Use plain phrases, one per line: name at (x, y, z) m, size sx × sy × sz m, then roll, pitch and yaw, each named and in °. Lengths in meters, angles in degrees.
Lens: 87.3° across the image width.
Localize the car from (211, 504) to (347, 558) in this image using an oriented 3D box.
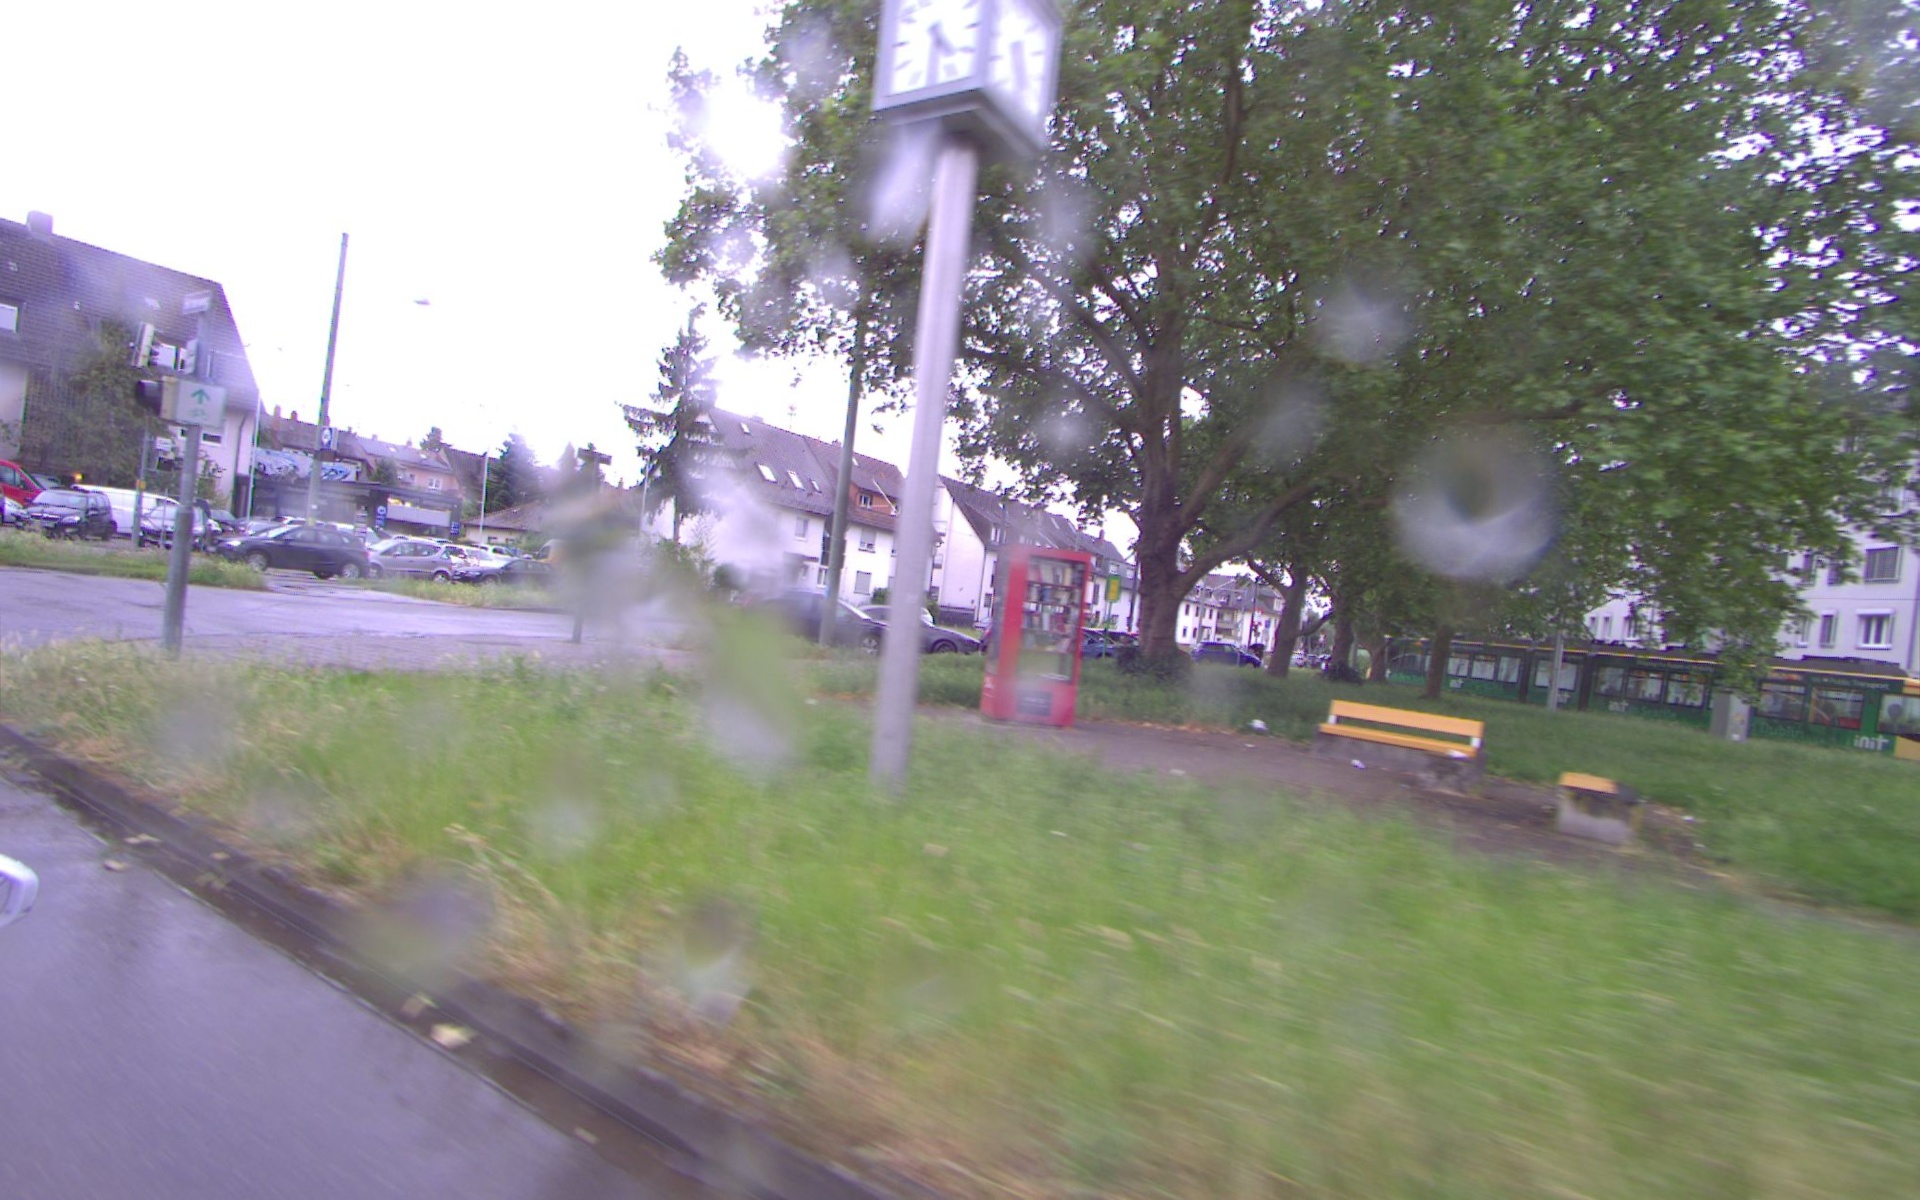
car at (-29.742, -2.990, 44.066) m, size 1.968 × 1.708 × 4.436 m, roll 6°, pitch -1°, yaw 33°

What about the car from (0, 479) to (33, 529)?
car at (-34.384, -3.478, 34.227) m, size 3.947 × 1.617 × 1.979 m, roll 7°, pitch -1°, yaw -39°

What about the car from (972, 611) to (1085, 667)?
car at (2.249, 1.296, 33.734) m, size 3.453 × 1.524 × 1.754 m, roll 5°, pitch -2°, yaw -4°

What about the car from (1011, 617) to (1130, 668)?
car at (3.944, 1.531, 36.363) m, size 3.927 × 1.519 × 1.824 m, roll 4°, pitch -1°, yaw -5°

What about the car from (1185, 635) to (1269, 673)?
car at (14.552, 2.946, 54.930) m, size 3.925 × 1.502 × 1.999 m, roll 6°, pitch 1°, yaw 0°

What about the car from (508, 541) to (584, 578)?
car at (-23.586, -2.286, 57.548) m, size 1.829 × 1.599 × 4.402 m, roll 6°, pitch -1°, yaw 10°

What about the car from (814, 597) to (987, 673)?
car at (-1.595, 0.950, 28.007) m, size 4.463 × 1.494 × 1.805 m, roll 7°, pitch 0°, yaw 5°

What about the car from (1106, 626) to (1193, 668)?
car at (8.354, 2.062, 44.582) m, size 3.530 × 1.498 × 1.638 m, roll 5°, pitch 0°, yaw 5°

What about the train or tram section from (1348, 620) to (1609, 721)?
train or tram section at (25.441, 3.237, 51.094) m, size 2.671 × 3.632 × 14.704 m, roll 8°, pitch -1°, yaw -12°

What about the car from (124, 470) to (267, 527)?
car at (-32.754, -4.314, 43.215) m, size 1.968 × 1.708 × 4.436 m, roll 6°, pitch -1°, yaw 33°

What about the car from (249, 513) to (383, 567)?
car at (-27.600, -2.548, 43.257) m, size 1.732 × 1.708 × 4.436 m, roll 6°, pitch -1°, yaw 33°

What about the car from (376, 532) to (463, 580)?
car at (-23.168, -1.892, 43.119) m, size 3.560 × 1.591 × 1.719 m, roll 7°, pitch -2°, yaw 35°

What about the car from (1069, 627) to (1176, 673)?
car at (6.692, 2.058, 41.741) m, size 4.046 × 1.498 × 1.866 m, roll 5°, pitch 0°, yaw 0°

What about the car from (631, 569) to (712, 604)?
car at (-15.802, -0.715, 55.182) m, size 1.966 × 1.586 × 3.882 m, roll 7°, pitch 3°, yaw 31°

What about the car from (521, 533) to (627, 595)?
car at (-19.601, -1.842, 51.054) m, size 5.063 × 2.433 × 2.150 m, roll 7°, pitch -2°, yaw 31°

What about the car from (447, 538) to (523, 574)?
car at (-28.042, -2.563, 59.551) m, size 1.759 × 1.599 × 4.450 m, roll 6°, pitch -1°, yaw 10°

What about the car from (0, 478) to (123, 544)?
car at (-29.024, -2.803, 32.545) m, size 1.975 × 1.738 × 3.974 m, roll 6°, pitch 0°, yaw -26°

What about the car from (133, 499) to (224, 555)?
car at (-27.203, -2.489, 35.140) m, size 1.815 × 1.521 × 4.028 m, roll 9°, pitch -2°, yaw -30°

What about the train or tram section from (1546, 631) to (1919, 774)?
train or tram section at (28.444, 3.433, 36.694) m, size 2.671 × 3.632 × 14.704 m, roll 8°, pitch -1°, yaw -12°

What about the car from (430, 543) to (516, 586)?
car at (-21.839, -1.607, 45.103) m, size 3.781 × 1.412 × 1.720 m, roll 7°, pitch -2°, yaw 35°

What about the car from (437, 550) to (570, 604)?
car at (-17.556, -0.842, 38.894) m, size 1.695 × 1.354 × 4.383 m, roll 7°, pitch -3°, yaw 33°

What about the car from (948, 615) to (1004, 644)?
car at (1.128, 2.065, 69.533) m, size 1.579 × 1.439 × 4.662 m, roll 7°, pitch -3°, yaw 31°

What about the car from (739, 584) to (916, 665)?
car at (-3.289, 0.606, 25.530) m, size 4.099 × 1.494 × 1.804 m, roll 7°, pitch 0°, yaw 1°

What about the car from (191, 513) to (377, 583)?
car at (-19.783, -1.482, 29.599) m, size 1.966 × 1.494 × 3.993 m, roll 7°, pitch 0°, yaw 30°

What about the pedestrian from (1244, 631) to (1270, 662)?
pedestrian at (18.000, 2.815, 60.995) m, size 1.029 × 1.735 × 1.080 m, roll 6°, pitch 0°, yaw -3°

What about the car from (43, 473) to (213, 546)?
car at (-31.125, -3.343, 37.762) m, size 1.968 × 2.038 × 4.436 m, roll 6°, pitch -1°, yaw 33°

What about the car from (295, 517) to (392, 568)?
car at (-24.926, -2.336, 40.660) m, size 3.809 × 1.598 × 1.803 m, roll 7°, pitch 1°, yaw 33°

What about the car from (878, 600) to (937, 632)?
car at (-3.219, 0.993, 62.550) m, size 1.579 × 1.439 × 3.940 m, roll 7°, pitch -2°, yaw 31°

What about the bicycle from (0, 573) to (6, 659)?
bicycle at (-5.895, 0.302, 5.345) m, size 1.896 × 1.086 × 0.753 m, roll 7°, pitch 1°, yaw 34°

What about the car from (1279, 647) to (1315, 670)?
car at (27.549, 4.781, 82.280) m, size 1.928 × 1.571 × 3.995 m, roll 5°, pitch -2°, yaw 30°

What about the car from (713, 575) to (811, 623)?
car at (-9.313, -0.017, 47.659) m, size 1.966 × 1.623 × 4.571 m, roll 7°, pitch -2°, yaw 29°

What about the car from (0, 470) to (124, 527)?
car at (-37.224, -4.168, 40.961) m, size 1.968 × 1.708 × 4.436 m, roll 6°, pitch -1°, yaw 33°

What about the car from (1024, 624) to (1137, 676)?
car at (4.641, 1.911, 39.038) m, size 3.928 × 1.571 × 1.961 m, roll 6°, pitch -2°, yaw -5°

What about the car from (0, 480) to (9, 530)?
car at (-30.886, -3.051, 30.512) m, size 1.785 × 1.598 × 3.847 m, roll 6°, pitch 0°, yaw -26°

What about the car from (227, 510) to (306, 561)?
car at (-25.995, -2.435, 37.667) m, size 1.822 × 1.521 × 4.011 m, roll 9°, pitch -2°, yaw -42°

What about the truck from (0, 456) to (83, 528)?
truck at (-36.181, -4.200, 36.705) m, size 6.054 × 2.300 × 1.979 m, roll 7°, pitch -1°, yaw -39°

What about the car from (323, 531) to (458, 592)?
car at (-19.855, -1.314, 35.204) m, size 1.694 × 1.521 × 3.640 m, roll 7°, pitch -2°, yaw 31°
